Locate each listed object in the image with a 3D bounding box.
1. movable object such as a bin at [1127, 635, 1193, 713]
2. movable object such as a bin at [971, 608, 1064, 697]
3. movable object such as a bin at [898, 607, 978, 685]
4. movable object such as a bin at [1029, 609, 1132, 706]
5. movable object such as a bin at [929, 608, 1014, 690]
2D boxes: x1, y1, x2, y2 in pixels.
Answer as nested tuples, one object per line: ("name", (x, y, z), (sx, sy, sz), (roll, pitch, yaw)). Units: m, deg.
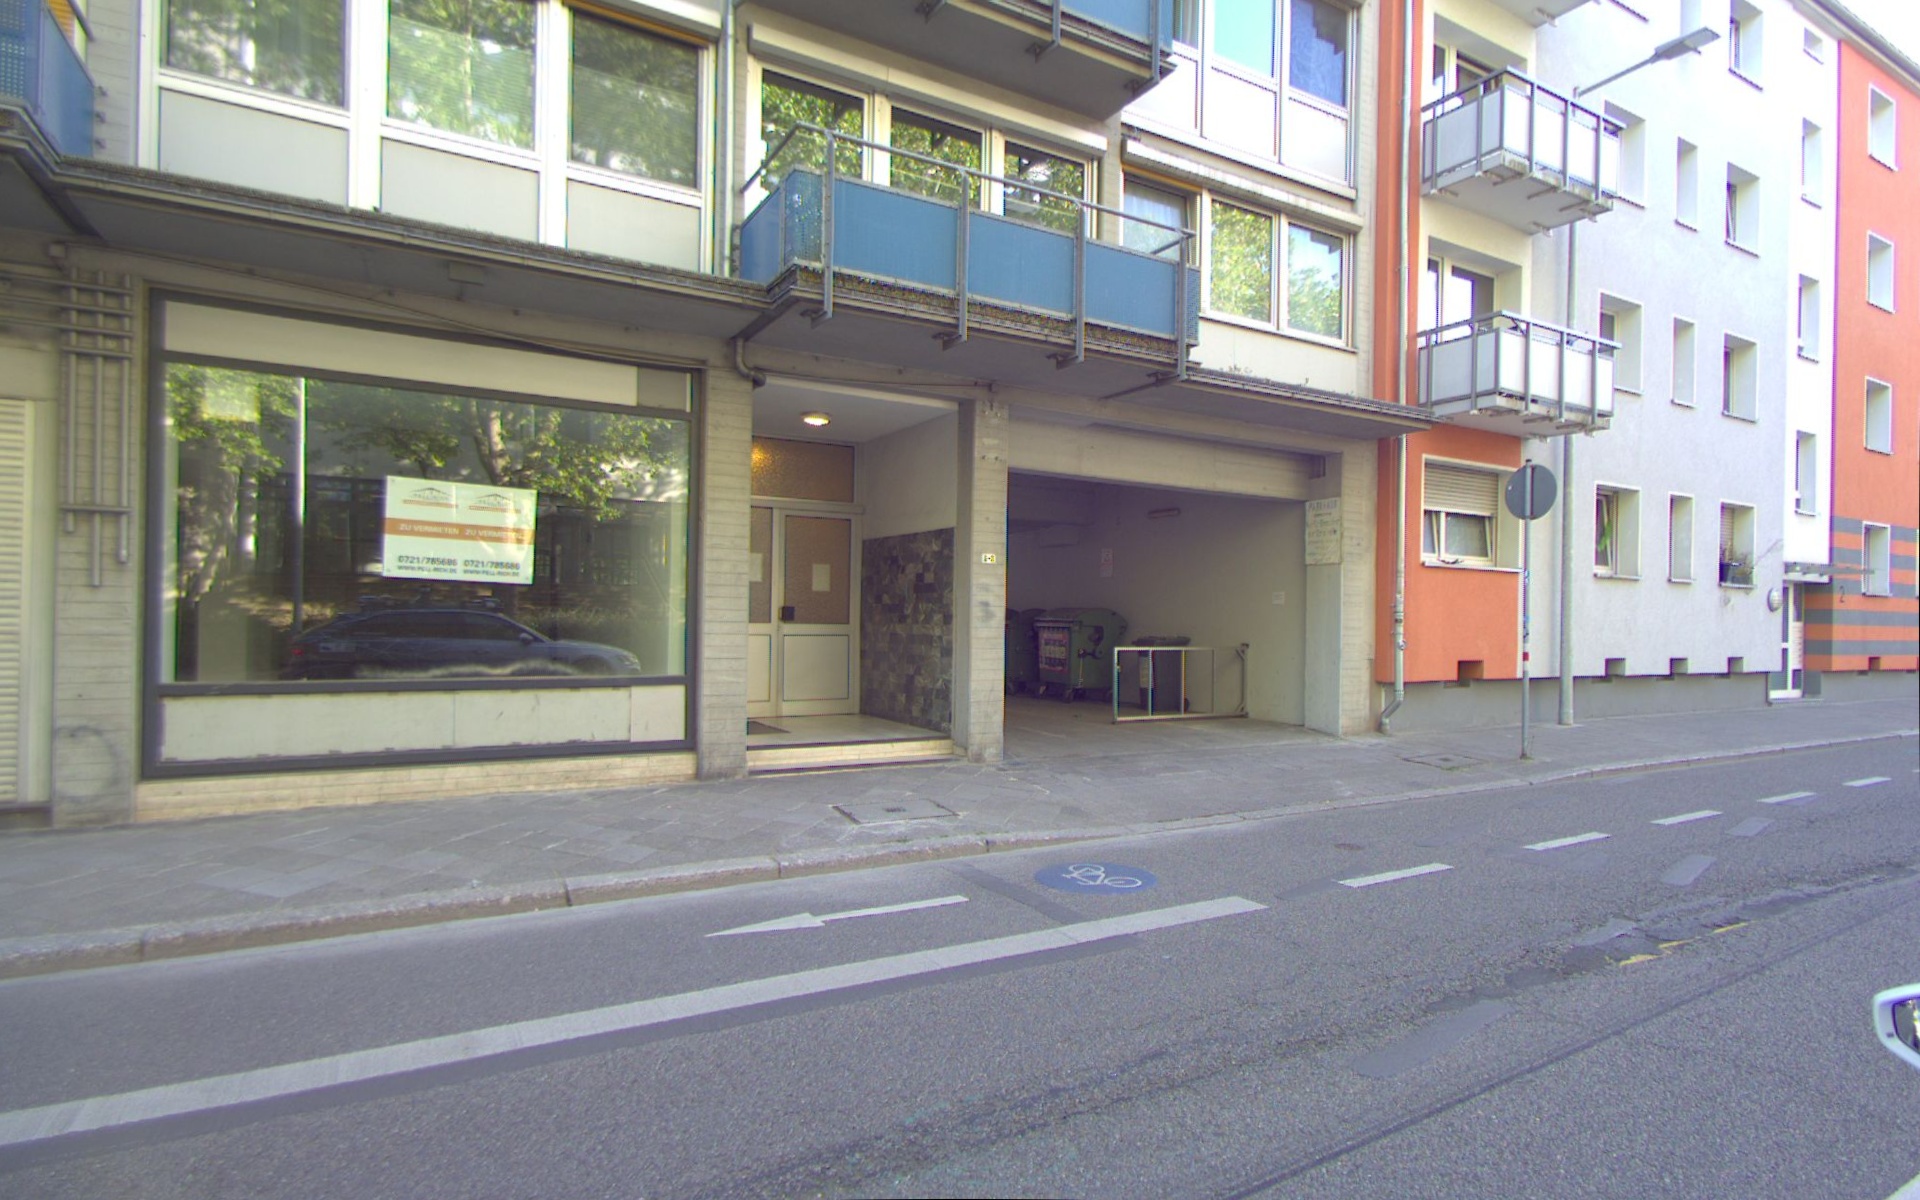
("movable object such as a bin", (2.882, 1.054, 14.501), (0.667, 1.079, 0.639), (1, 0, -30))
("movable object such as a bin", (0.973, 0.867, 17.170), (1.116, 1.444, 1.201), (1, 0, -30))
("movable object such as a bin", (-0.445, 0.880, 19.617), (1.116, 1.444, 1.201), (1, 0, -30))
("movable object such as a bin", (1.884, 0.872, 15.811), (1.116, 1.444, 1.201), (1, 0, -30))
("movable object such as a bin", (0.202, 0.873, 18.469), (1.116, 1.444, 1.201), (1, 0, -30))
